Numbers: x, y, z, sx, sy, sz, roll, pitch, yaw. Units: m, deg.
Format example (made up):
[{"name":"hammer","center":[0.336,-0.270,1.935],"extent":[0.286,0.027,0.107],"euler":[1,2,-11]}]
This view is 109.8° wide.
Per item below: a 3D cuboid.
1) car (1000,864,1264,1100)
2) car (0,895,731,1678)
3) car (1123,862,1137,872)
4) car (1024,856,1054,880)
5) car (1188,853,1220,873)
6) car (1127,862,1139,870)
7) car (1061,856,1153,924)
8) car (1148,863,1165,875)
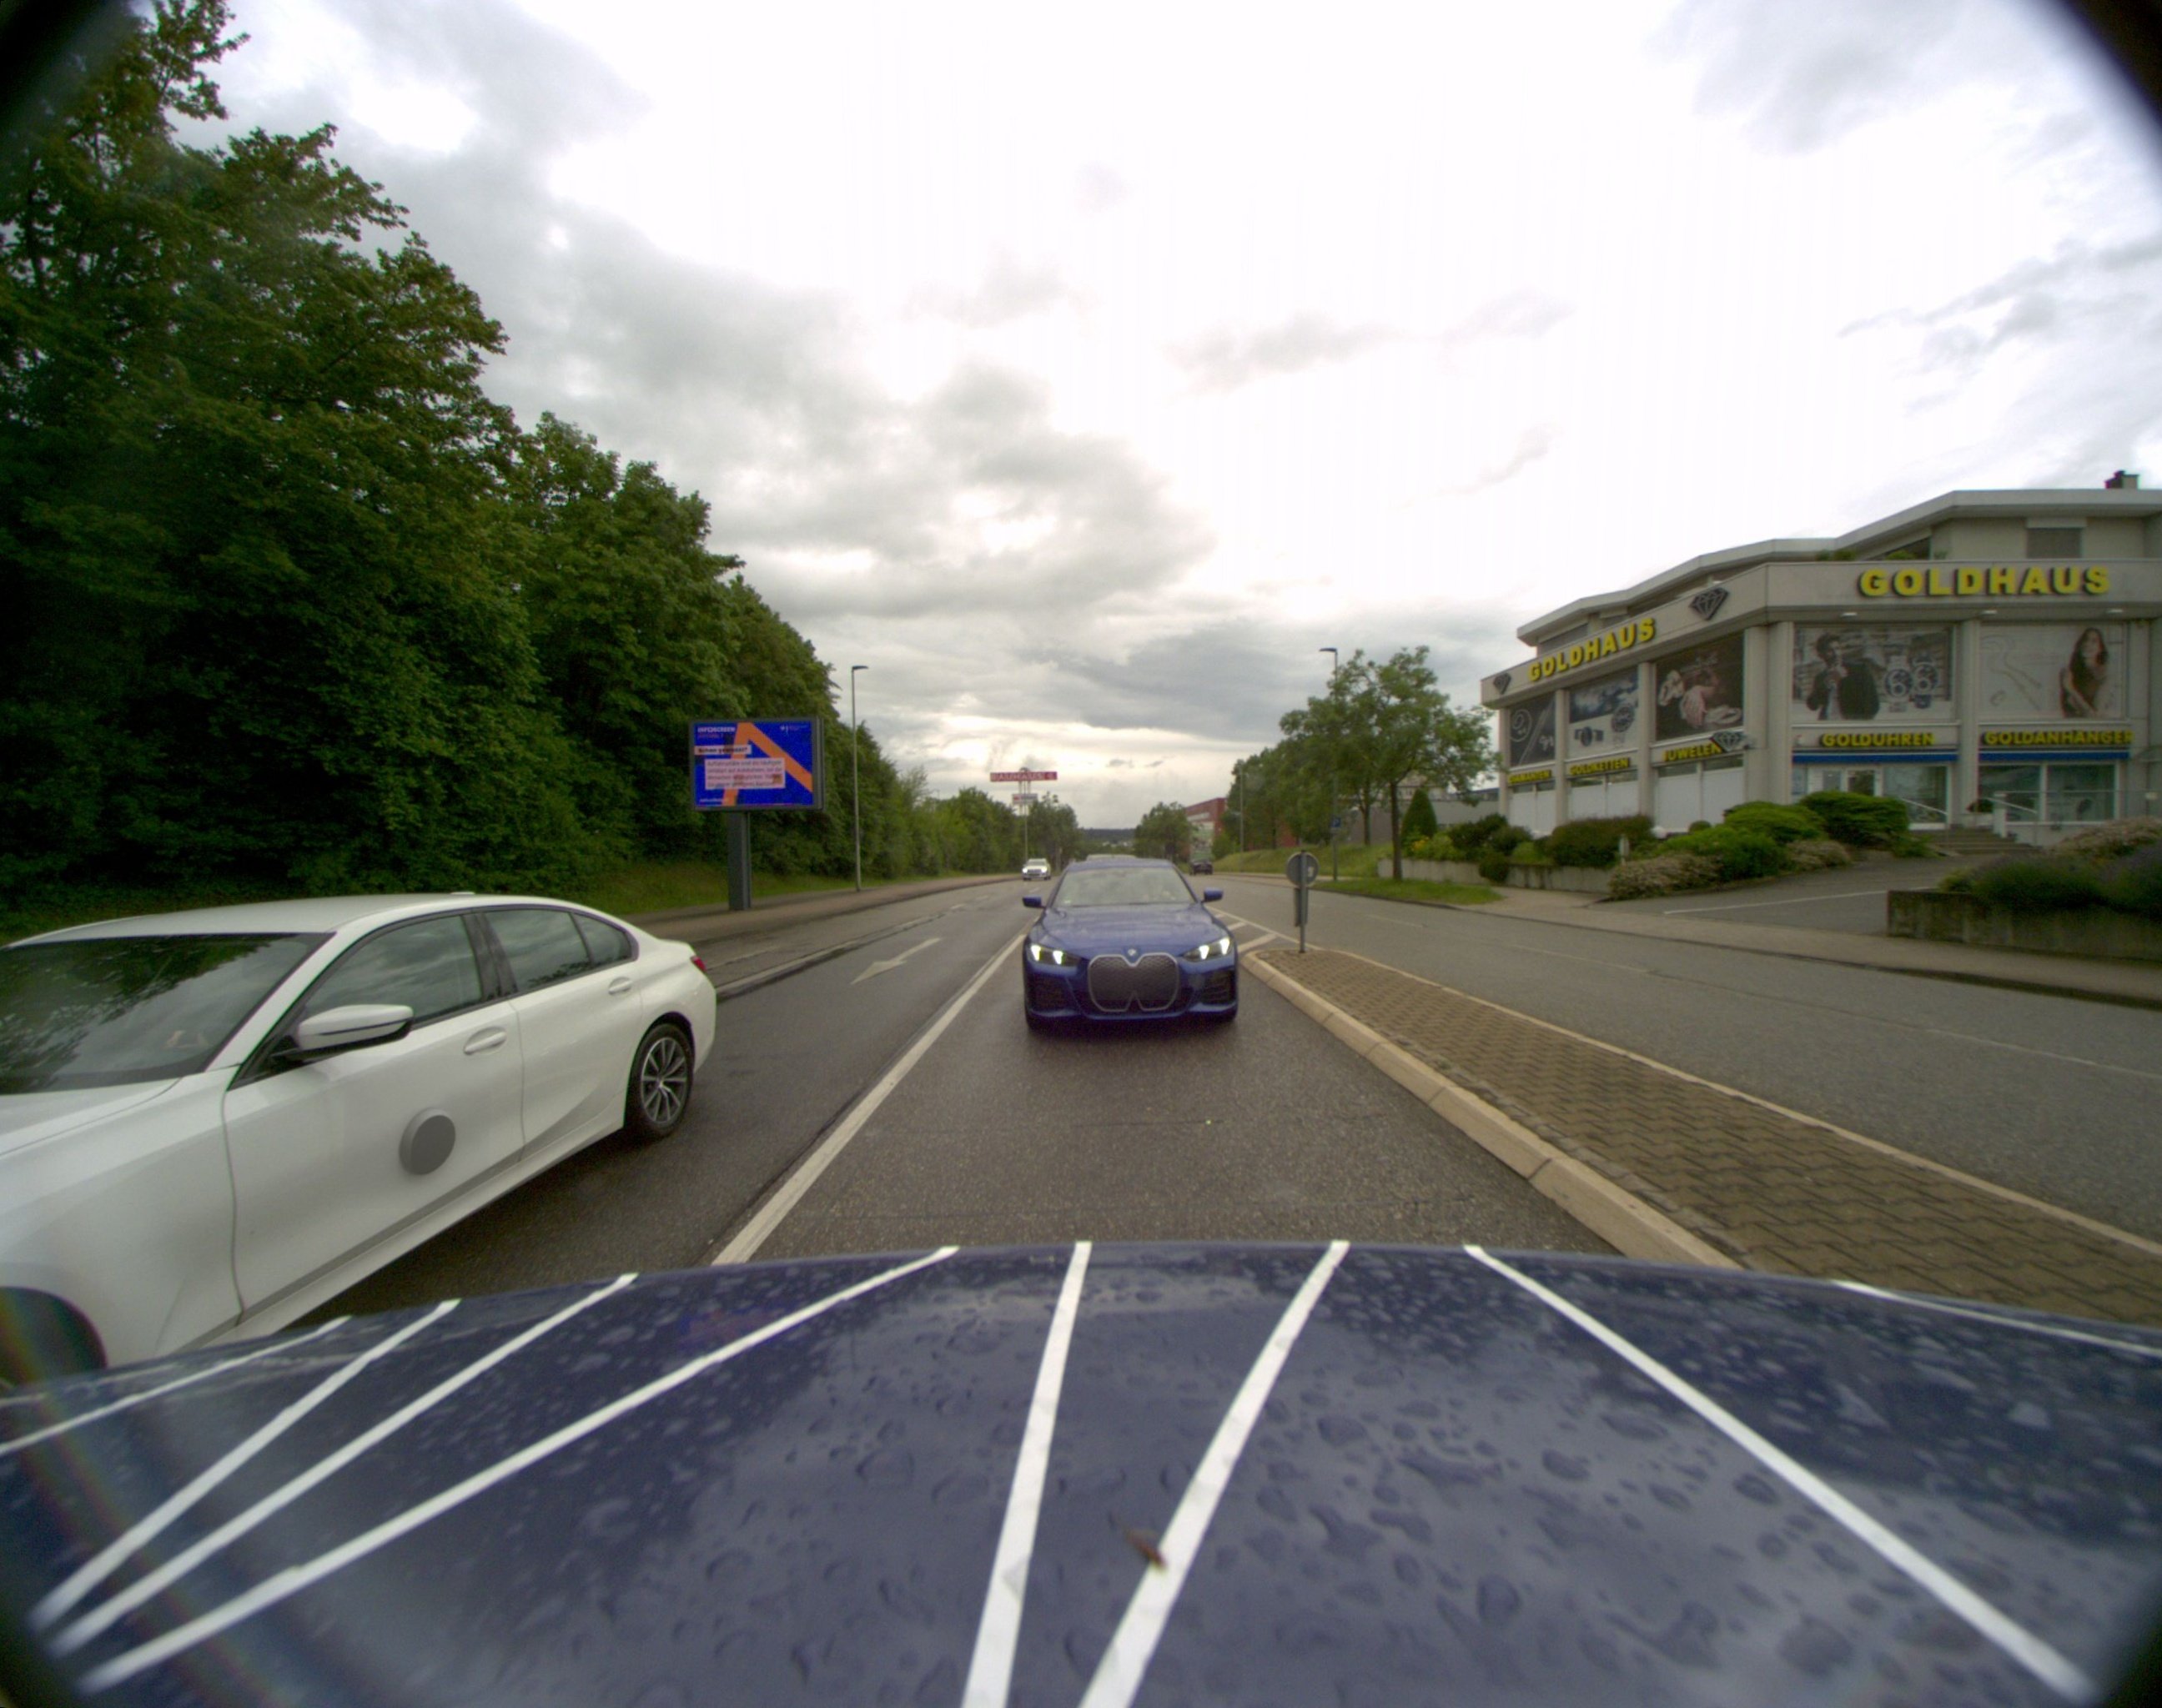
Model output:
[{"name":"car","center":[0.332,0.918,7.566],"extent":[1.784,1.448,4.596],"euler":[-2,1,-1]},{"name":"car","center":[-3.265,1.068,2.782],"extent":[1.784,1.448,4.678],"euler":[-2,1,-1]},{"name":"car","center":[7.850,2.127,122.218],"extent":[1.998,1.586,4.001],"euler":[-1,-1,1]},{"name":"car","center":[-3.191,1.070,58.877],"extent":[1.998,1.717,4.316],"euler":[-1,1,1]},{"name":"car","center":[11.725,0.897,72.815],"extent":[2.350,1.879,4.545],"euler":[-1,-1,1]},{"name":"car","center":[10.039,2.301,146.552],"extent":[1.998,1.586,4.001],"euler":[-1,-1,1]},{"name":"car","center":[0.663,0.812,19.135],"extent":[1.998,1.455,4.368],"euler":[-2,0,2]},{"name":"car","center":[10.501,2.120,106.069],"extent":[1.998,1.586,4.001],"euler":[-1,-1,1]}]
